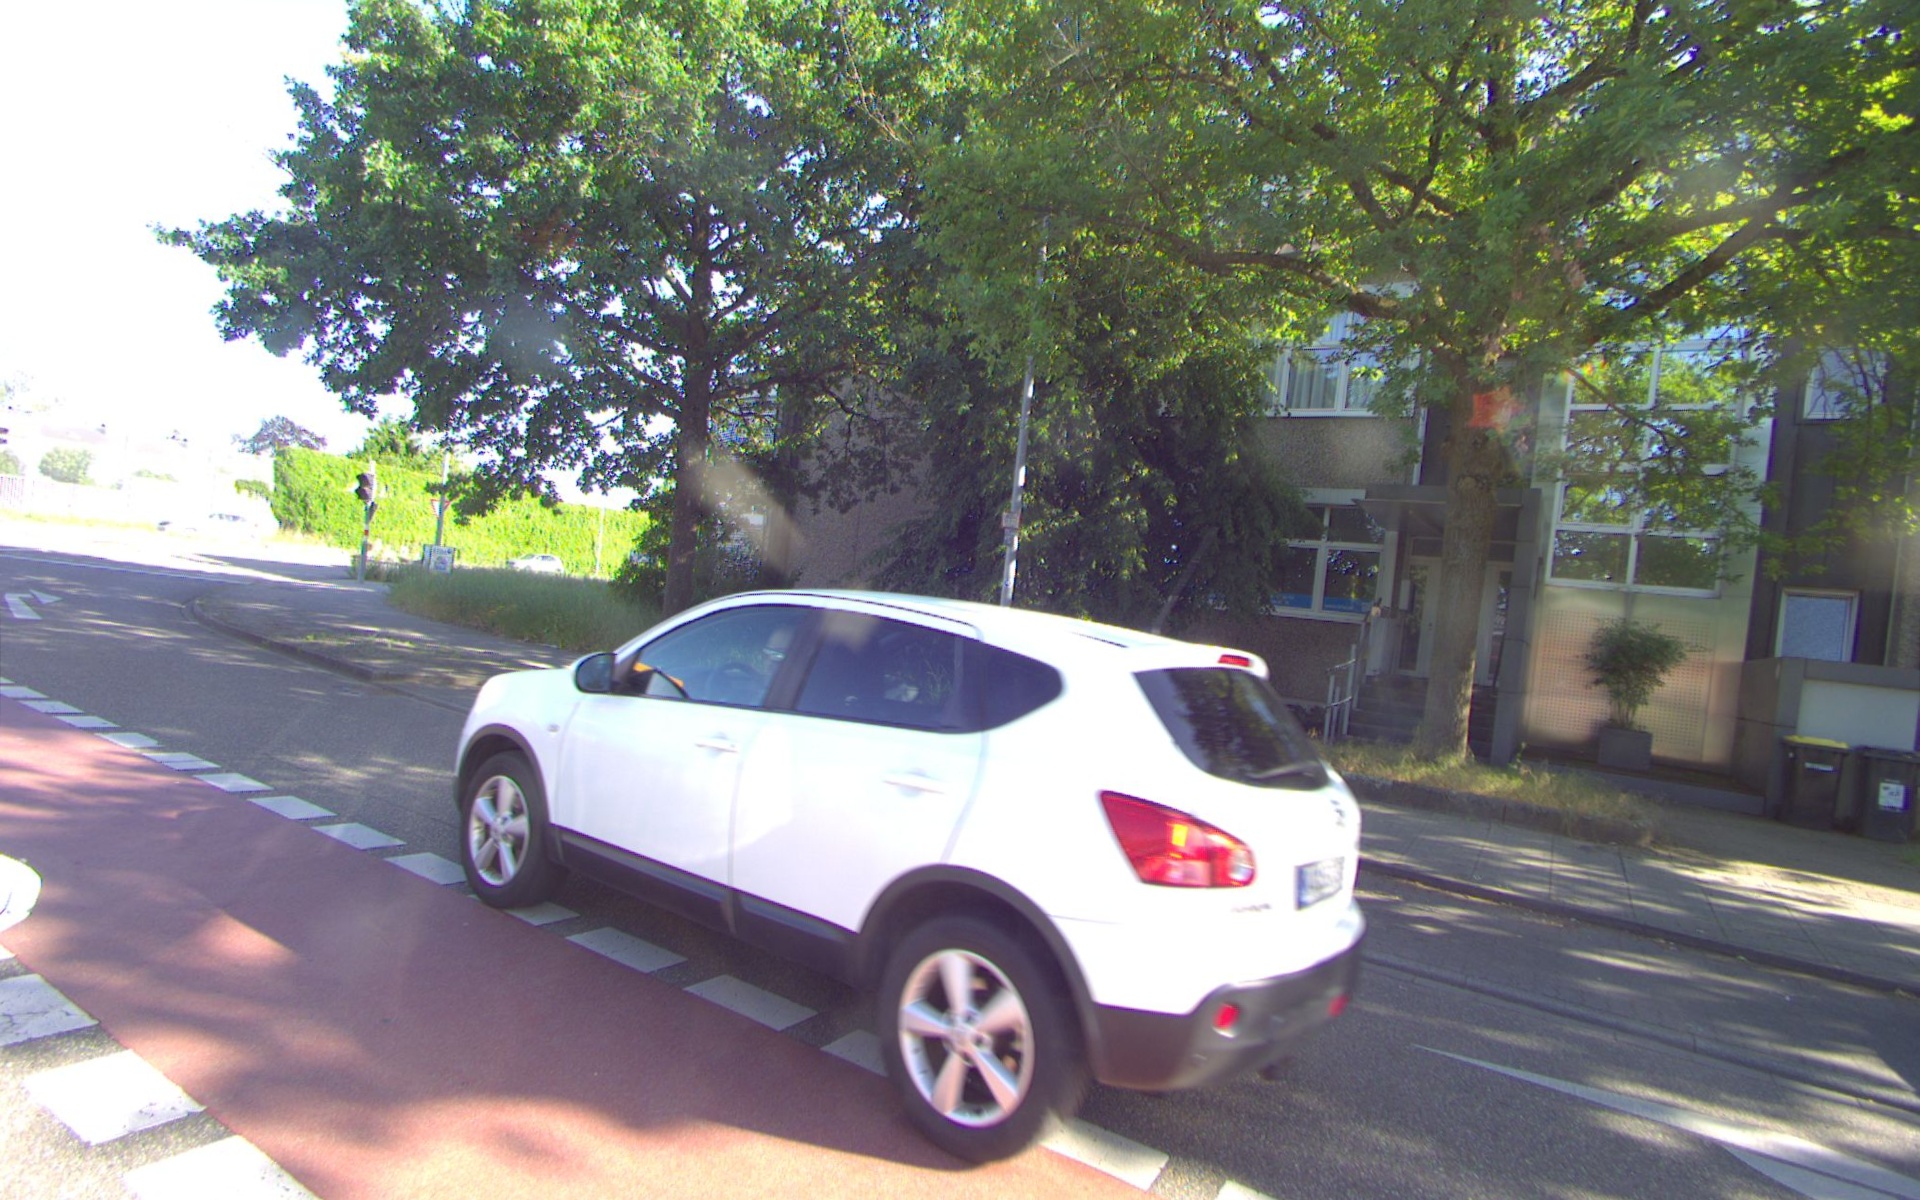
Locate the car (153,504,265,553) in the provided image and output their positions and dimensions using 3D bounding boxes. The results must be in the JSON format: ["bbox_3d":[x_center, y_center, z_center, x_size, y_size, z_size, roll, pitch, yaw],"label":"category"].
[{"bbox_3d":[-35.792,-3.390,48.021,1.677,1.631,3.820,7,-2,25],"label":"car"}]

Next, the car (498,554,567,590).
[{"bbox_3d":[-29.381,-1.891,69.241,1.889,1.836,4.000,7,-2,26],"label":"car"}]

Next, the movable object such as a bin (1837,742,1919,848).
[{"bbox_3d":[10.757,2.253,11.722,0.605,1.075,0.634,6,0,30],"label":"movable object such as a bin"}]

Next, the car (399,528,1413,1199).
[{"bbox_3d":[-0.484,0.737,4.294,4.005,1.626,1.718,7,-1,37],"label":"car"}]

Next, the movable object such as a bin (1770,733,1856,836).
[{"bbox_3d":[10.168,2.185,12.015,0.575,1.070,0.625,7,0,30],"label":"movable object such as a bin"}]
